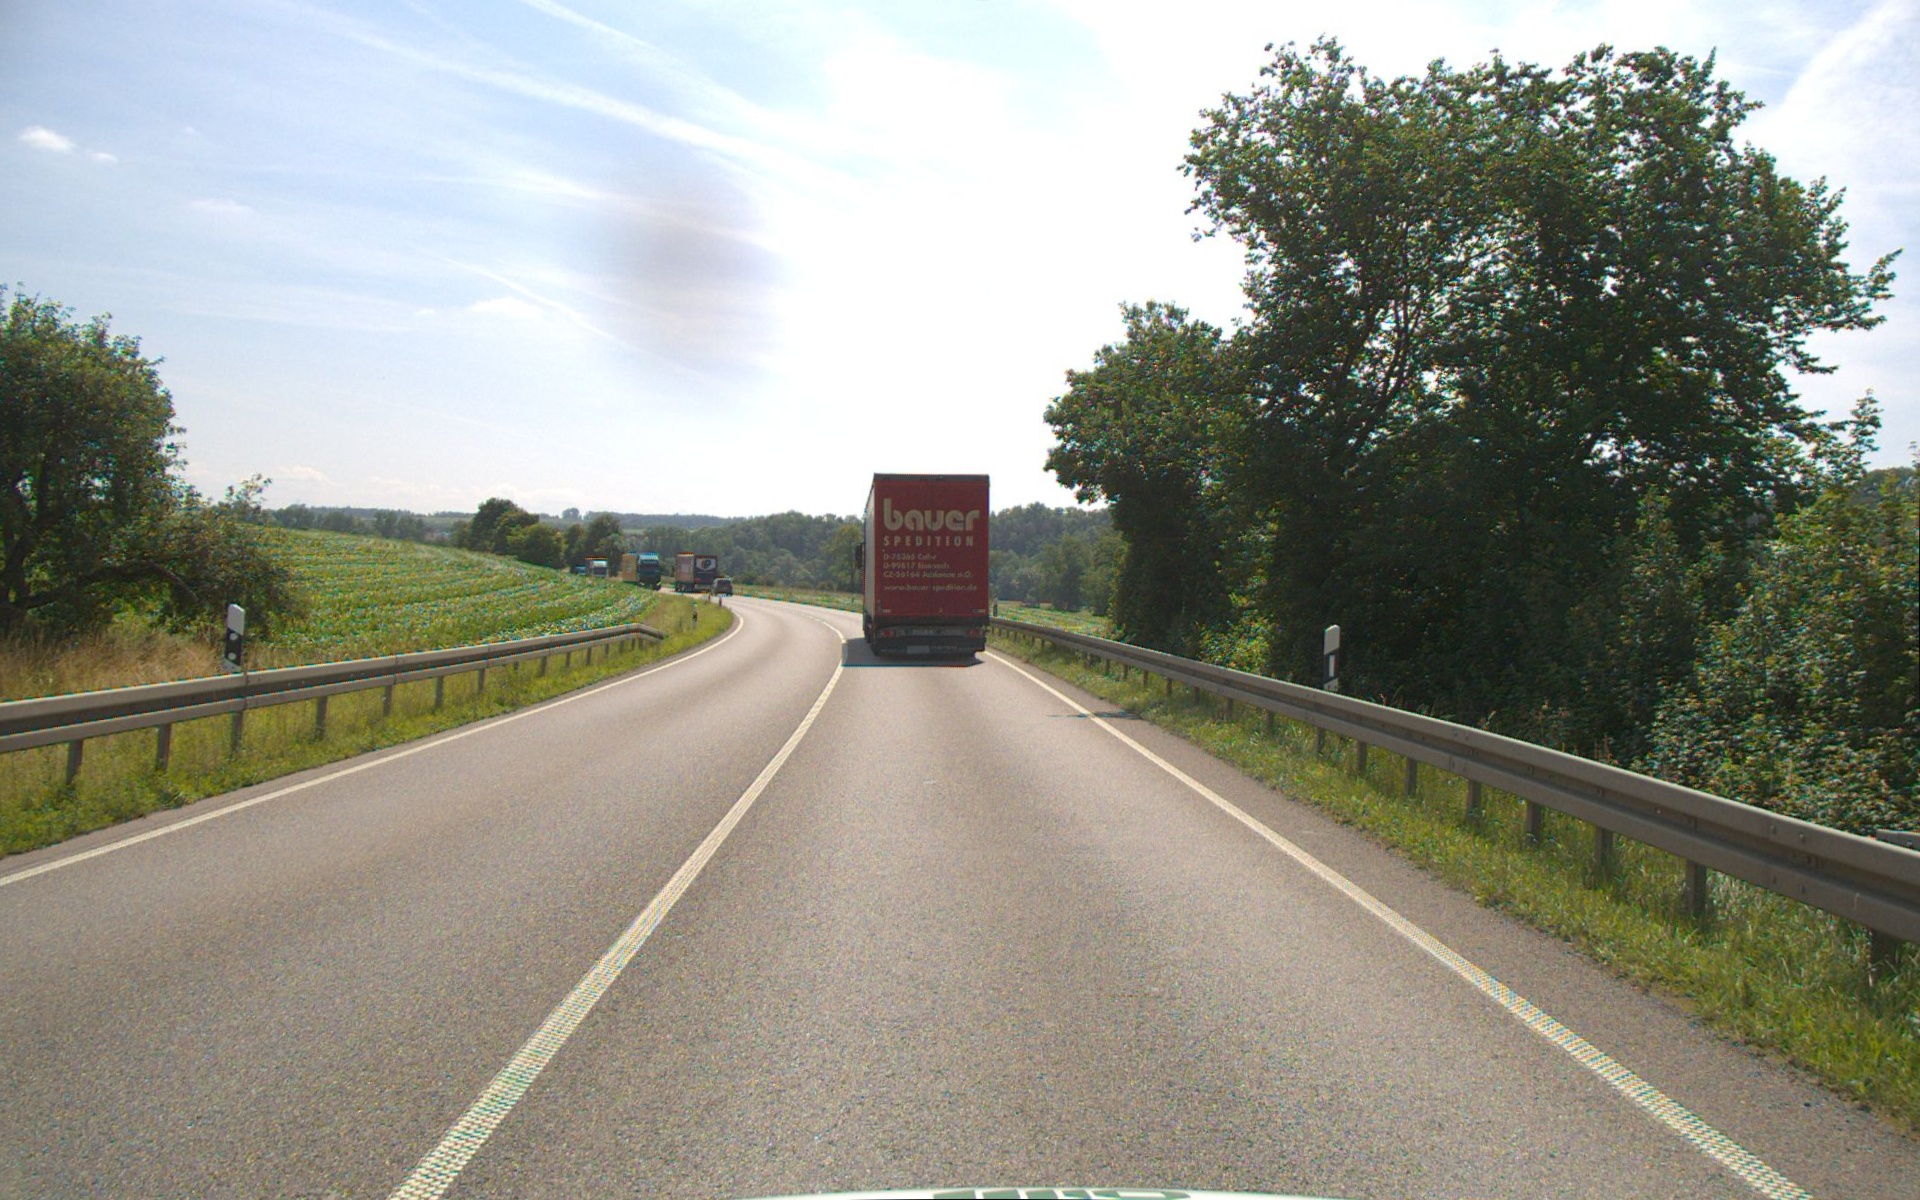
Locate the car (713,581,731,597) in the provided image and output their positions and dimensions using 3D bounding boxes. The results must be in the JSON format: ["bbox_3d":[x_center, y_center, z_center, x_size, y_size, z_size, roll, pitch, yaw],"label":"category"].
[{"bbox_3d":[-23.330,-1.128,162.007,1.551,1.527,3.872,1,1,-6],"label":"car"}]

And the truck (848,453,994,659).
[{"bbox_3d":[-0.735,-0.939,39.190,3.030,4.337,8.316,0,0,1],"label":"truck"}]

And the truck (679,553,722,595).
[{"bbox_3d":[-28.673,-2.800,182.407,3.579,4.367,11.940,1,0,-14],"label":"truck"}]

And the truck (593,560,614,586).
[{"bbox_3d":[-52.639,-4.015,244.274,2.695,3.641,9.690,1,1,-14],"label":"truck"}]

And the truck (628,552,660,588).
[{"bbox_3d":[-37.322,-3.489,195.029,2.724,4.068,16.964,1,1,-14],"label":"truck"}]
